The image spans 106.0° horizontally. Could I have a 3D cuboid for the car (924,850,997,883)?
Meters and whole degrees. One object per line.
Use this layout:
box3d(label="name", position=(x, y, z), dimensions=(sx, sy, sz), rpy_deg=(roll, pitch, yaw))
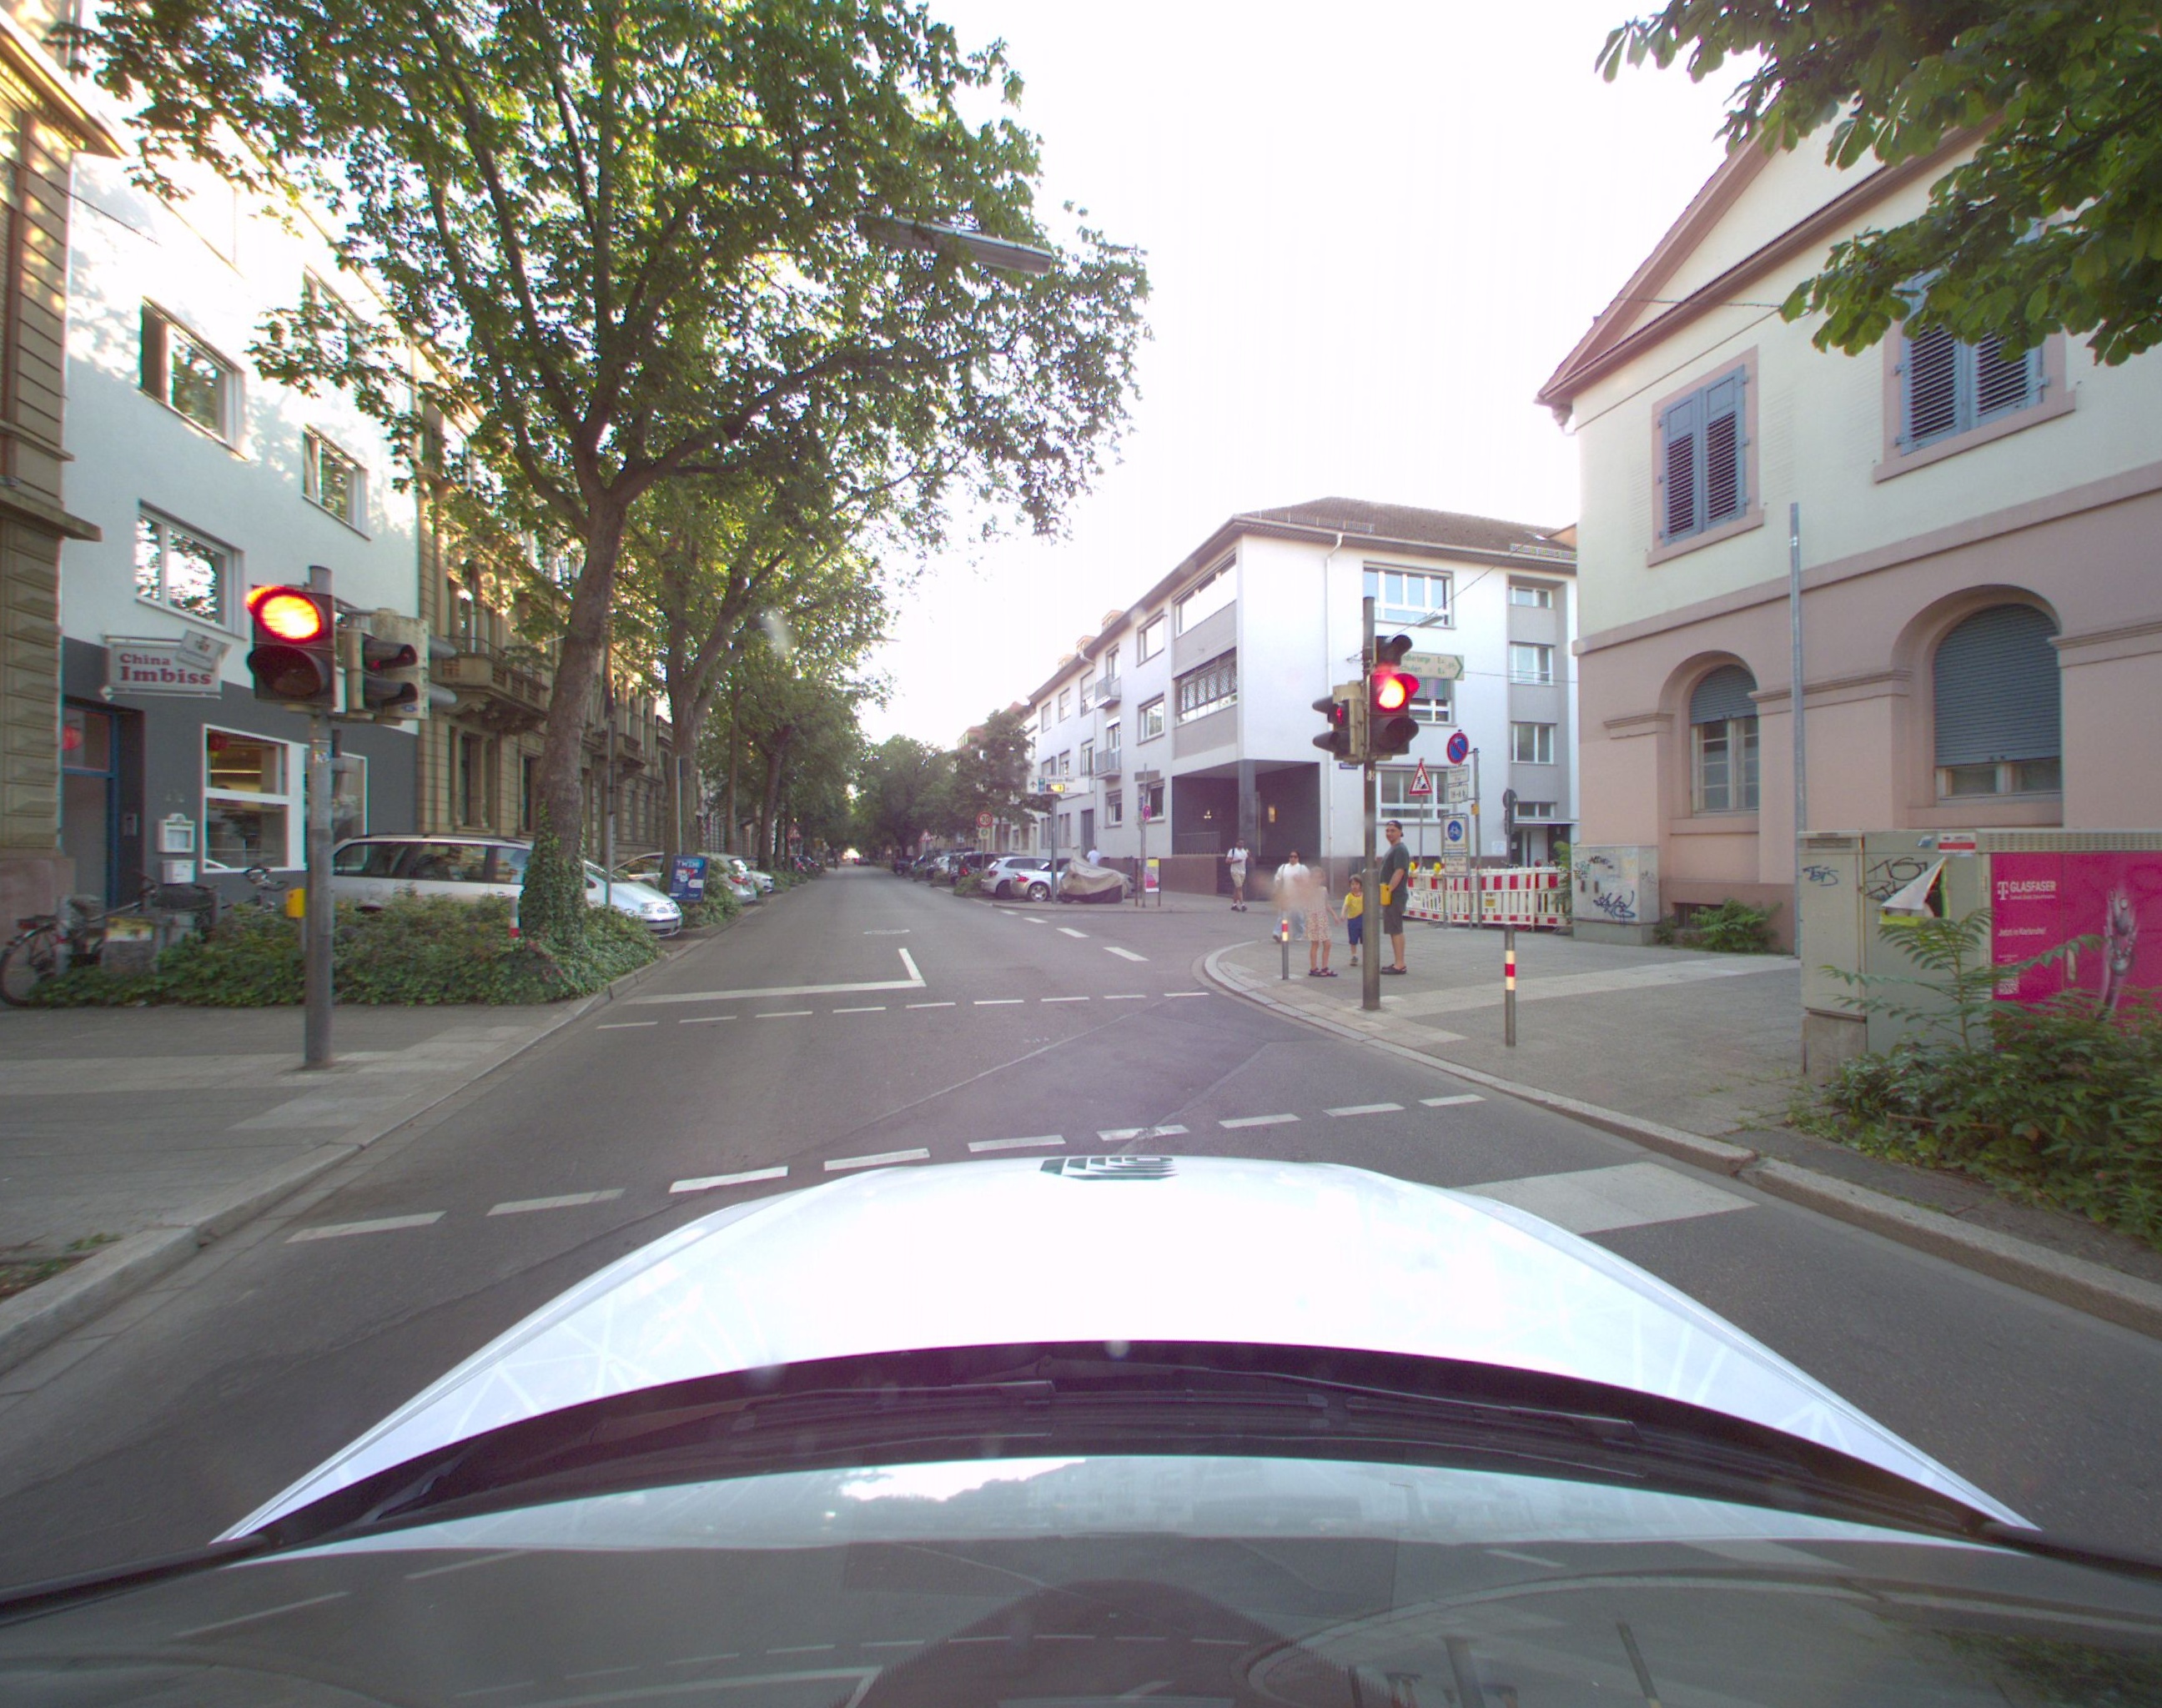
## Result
box3d(label="car", position=(-7.014, 0.713, 47.297), dimensions=(4.023, 1.815, 1.697), rpy_deg=(-1, 0, -16))

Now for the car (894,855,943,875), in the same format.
box3d(label="car", position=(-13.752, 0.935, 69.145), dimensions=(3.979, 1.578, 1.903), rpy_deg=(1, -1, -11))

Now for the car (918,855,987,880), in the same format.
box3d(label="car", position=(-7.902, 0.800, 49.990), dimensions=(4.023, 1.530, 1.697), rpy_deg=(0, 0, -16))

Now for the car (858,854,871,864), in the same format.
box3d(label="car", position=(-35.766, 0.839, 134.433), dimensions=(1.829, 1.561, 4.005), rpy_deg=(1, -1, -17))

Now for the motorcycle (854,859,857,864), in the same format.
box3d(label="motorcycle", position=(-53.116, 1.748, 191.744), dimensions=(0.820, 1.236, 2.014), rpy_deg=(1, -1, -16))

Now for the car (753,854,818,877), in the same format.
box3d(label="car", position=(-22.688, 0.883, 62.648), dimensions=(4.556, 1.691, 1.823), rpy_deg=(0, 0, -16))

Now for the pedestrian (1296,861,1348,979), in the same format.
box3d(label="pedestrian", position=(2.821, 0.750, 9.566), dimensions=(0.502, 1.336, 0.542), rpy_deg=(0, 0, 7))

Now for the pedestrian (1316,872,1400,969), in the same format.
box3d(label="pedestrian", position=(3.479, 0.814, 10.276), dimensions=(0.568, 1.121, 0.830), rpy_deg=(-2, 1, -26))

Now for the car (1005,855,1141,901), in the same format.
box3d(label="car", position=(-0.285, 0.733, 25.906), dimensions=(4.022, 1.342, 1.698), rpy_deg=(-1, 0, -16))

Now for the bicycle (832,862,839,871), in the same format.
box3d(label="bicycle", position=(-25.732, 1.325, 85.361), dimensions=(0.573, 0.949, 1.731), rpy_deg=(1, -1, -22))

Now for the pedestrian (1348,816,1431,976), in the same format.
box3d(label="pedestrian", position=(3.660, 0.463, 9.711), dimensions=(0.881, 1.815, 0.798), rpy_deg=(-1, 2, 18))

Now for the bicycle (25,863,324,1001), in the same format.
box3d(label="bicycle", position=(-9.219, 0.708, 8.508), dimensions=(0.735, 1.186, 2.621), rpy_deg=(1, -1, -15))

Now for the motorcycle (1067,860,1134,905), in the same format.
box3d(label="motorcycle", position=(0.542, 0.782, 22.832), dimensions=(1.798, 1.199, 0.611), rpy_deg=(-1, 0, -7))

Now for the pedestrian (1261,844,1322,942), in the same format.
box3d(label="pedestrian", position=(3.374, 0.601, 13.014), dimensions=(0.766, 1.501, 0.806), rpy_deg=(-2, -1, 26))

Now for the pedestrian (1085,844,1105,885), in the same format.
box3d(label="pedestrian", position=(0.610, 0.447, 35.105), dimensions=(0.704, 1.752, 0.696), rpy_deg=(0, 0, -12))

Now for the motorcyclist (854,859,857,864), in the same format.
box3d(label="motorcyclist", position=(-53.088, 1.742, 191.651), dimensions=(0.820, 1.236, 0.845), rpy_deg=(1, -1, -16))

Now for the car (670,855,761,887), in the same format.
box3d(label="car", position=(-19.010, 0.857, 42.528), dimensions=(4.047, 1.590, 1.823), rpy_deg=(-1, 0, -16))

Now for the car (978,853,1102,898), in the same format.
box3d(label="car", position=(-1.459, 0.716, 28.279), dimensions=(4.023, 1.442, 1.697), rpy_deg=(-1, 0, -16))

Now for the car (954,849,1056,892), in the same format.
box3d(label="car", position=(-3.217, 0.679, 34.402), dimensions=(4.023, 1.690, 1.697), rpy_deg=(-1, 0, -16))

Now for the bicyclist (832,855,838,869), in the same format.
box3d(label="bicyclist", position=(-25.747, 0.847, 85.324), dimensions=(0.573, 1.470, 0.638), rpy_deg=(1, -1, -22))

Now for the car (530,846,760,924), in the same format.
box3d(label="car", position=(-10.291, 0.685, 19.621), dimensions=(4.556, 1.689, 1.823), rpy_deg=(-1, 0, -16))

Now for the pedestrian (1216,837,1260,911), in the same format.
box3d(label="pedestrian", position=(3.993, 0.494, 20.777), dimensions=(0.768, 1.841, 0.939), rpy_deg=(0, 0, -15))

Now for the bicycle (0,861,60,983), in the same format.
box3d(label="bicycle", position=(-10.798, 0.674, 7.293), dimensions=(0.637, 1.202, 2.551), rpy_deg=(-1, 0, -14))

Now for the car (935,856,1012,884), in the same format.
box3d(label="car", position=(-5.997, 0.872, 45.270), dimensions=(4.023, 1.409, 1.697), rpy_deg=(-1, 0, -16))

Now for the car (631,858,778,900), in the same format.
box3d(label="car", position=(-13.433, 0.867, 29.363), dimensions=(4.556, 1.372, 1.823), rpy_deg=(-1, 0, -16))

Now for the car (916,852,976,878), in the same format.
box3d(label="car", position=(-9.475, 0.753, 57.149), dimensions=(4.023, 1.830, 1.697), rpy_deg=(0, 0, -16))

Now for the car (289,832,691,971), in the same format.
box3d(label="car", position=(-8.562, 0.608, 12.344), dimensions=(4.561, 1.835, 1.821), rpy_deg=(-1, 0, -19))

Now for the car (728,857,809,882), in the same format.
box3d(label="car", position=(-19.462, 0.943, 50.931), dimensions=(4.556, 1.410, 1.823), rpy_deg=(-1, 0, -16))
